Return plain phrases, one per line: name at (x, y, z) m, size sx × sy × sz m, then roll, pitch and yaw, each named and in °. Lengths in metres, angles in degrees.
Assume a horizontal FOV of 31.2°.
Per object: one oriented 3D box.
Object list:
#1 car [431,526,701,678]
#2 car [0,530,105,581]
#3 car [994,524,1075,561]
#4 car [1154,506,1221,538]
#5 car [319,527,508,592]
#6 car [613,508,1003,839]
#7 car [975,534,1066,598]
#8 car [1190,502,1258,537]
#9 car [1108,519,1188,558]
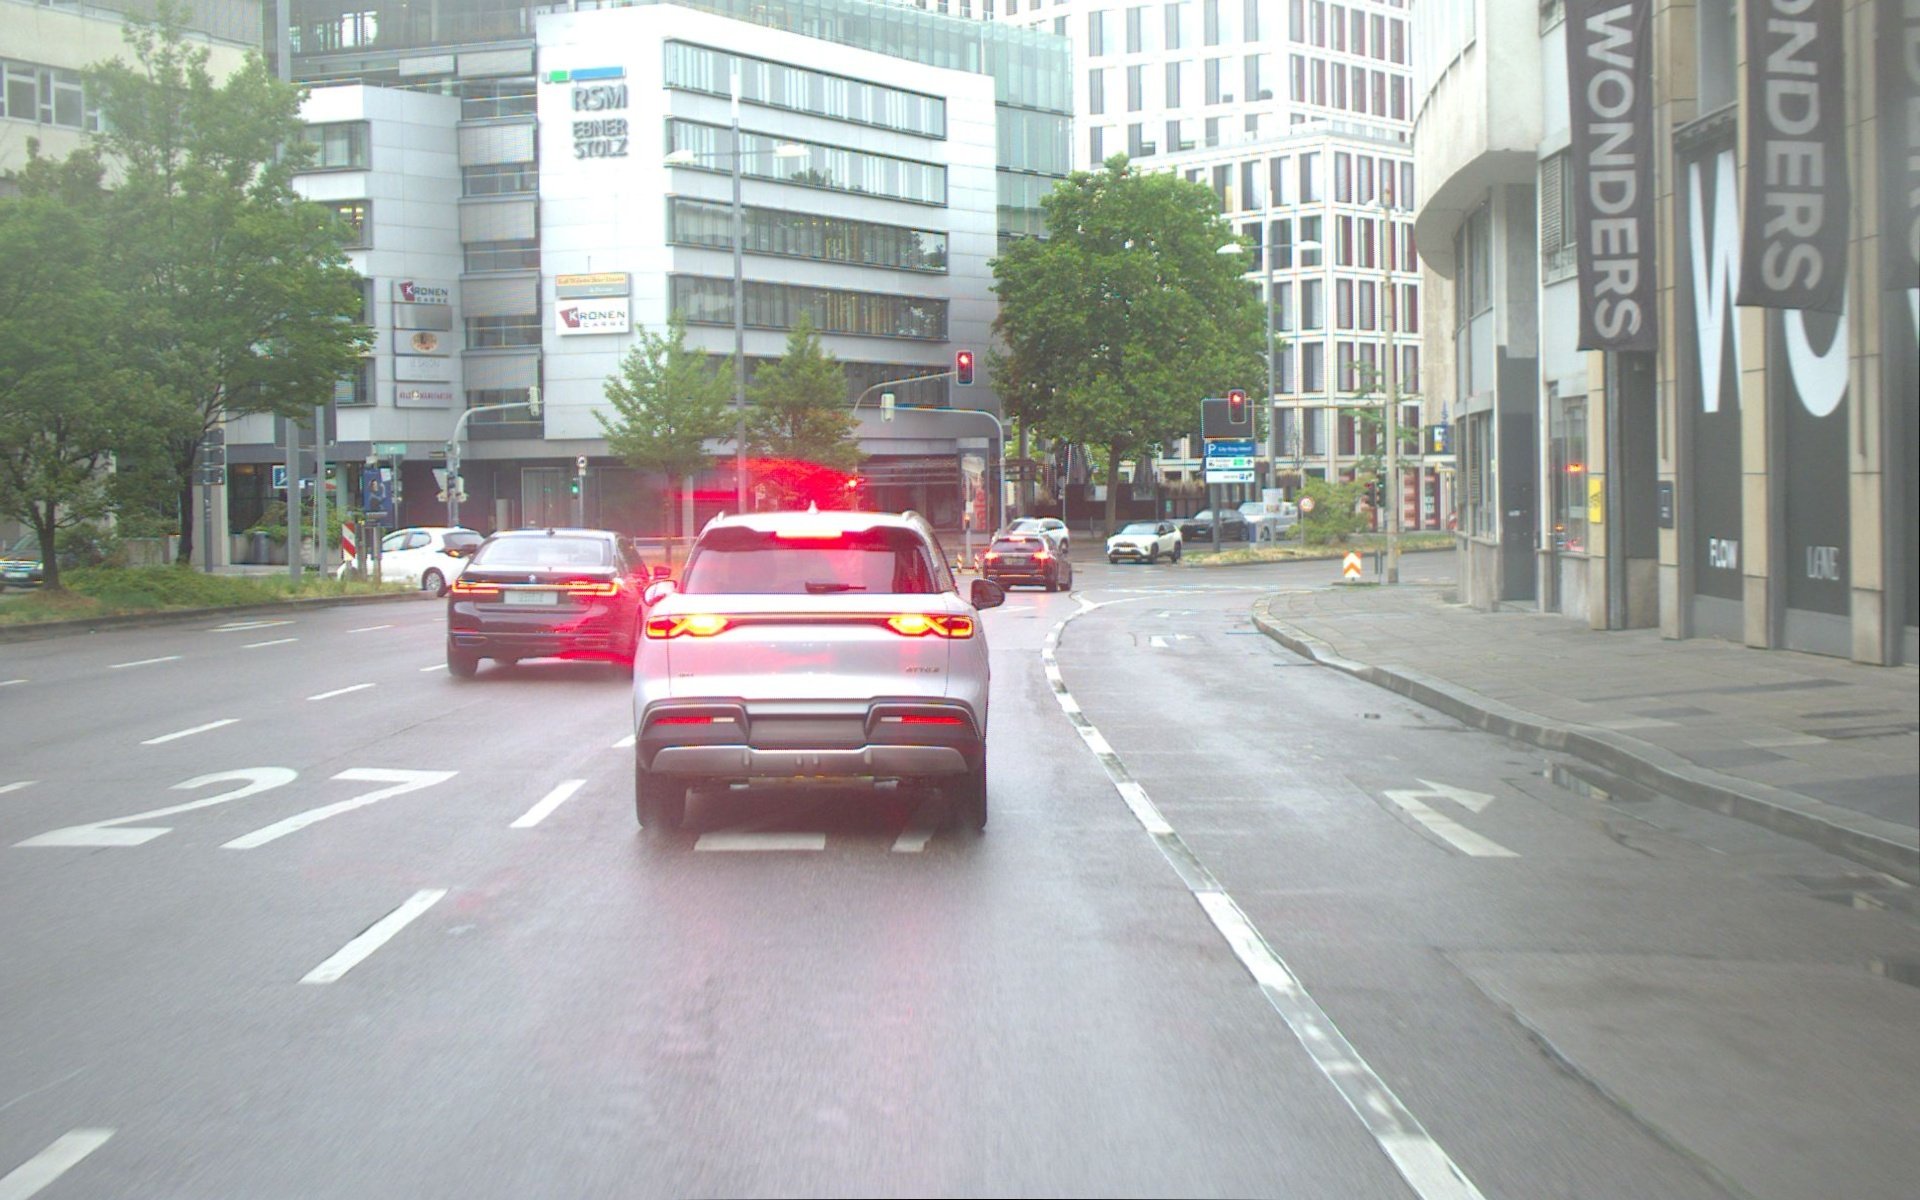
car at (-3.994, -0.020, 35.669) m, size 1.872 × 1.474 × 4.877 m, roll 0°, pitch 1°, yaw 5°
car at (-20.562, -1.011, 77.335) m, size 1.580 × 1.086 × 4.000 m, roll 0°, pitch 1°, yaw 1°
car at (3.142, -2.427, 144.395) m, size 1.583 × 1.533 × 3.993 m, roll 1°, pitch 2°, yaw 32°
car at (10.914, -3.734, 164.646) m, size 1.583 × 1.533 × 3.993 m, roll 1°, pitch 2°, yaw 30°
car at (-11.597, -0.881, 72.866) m, size 3.995 × 1.337 × 1.655 m, roll 1°, pitch 2°, yaw 37°
car at (-0.768, 0.319, 18.812) m, size 1.901 × 1.616 × 4.000 m, roll 0°, pitch 1°, yaw -1°
car at (1.581, -0.885, 88.222) m, size 1.812 × 1.573 × 3.999 m, roll 0°, pitch 1°, yaw 9°
car at (13.229, -4.032, 172.060) m, size 1.860 × 1.730 × 3.993 m, roll 1°, pitch 2°, yaw 30°
car at (7.532, -2.464, 137.421) m, size 1.583 × 1.533 × 3.993 m, roll 1°, pitch 2°, yaw 30°
